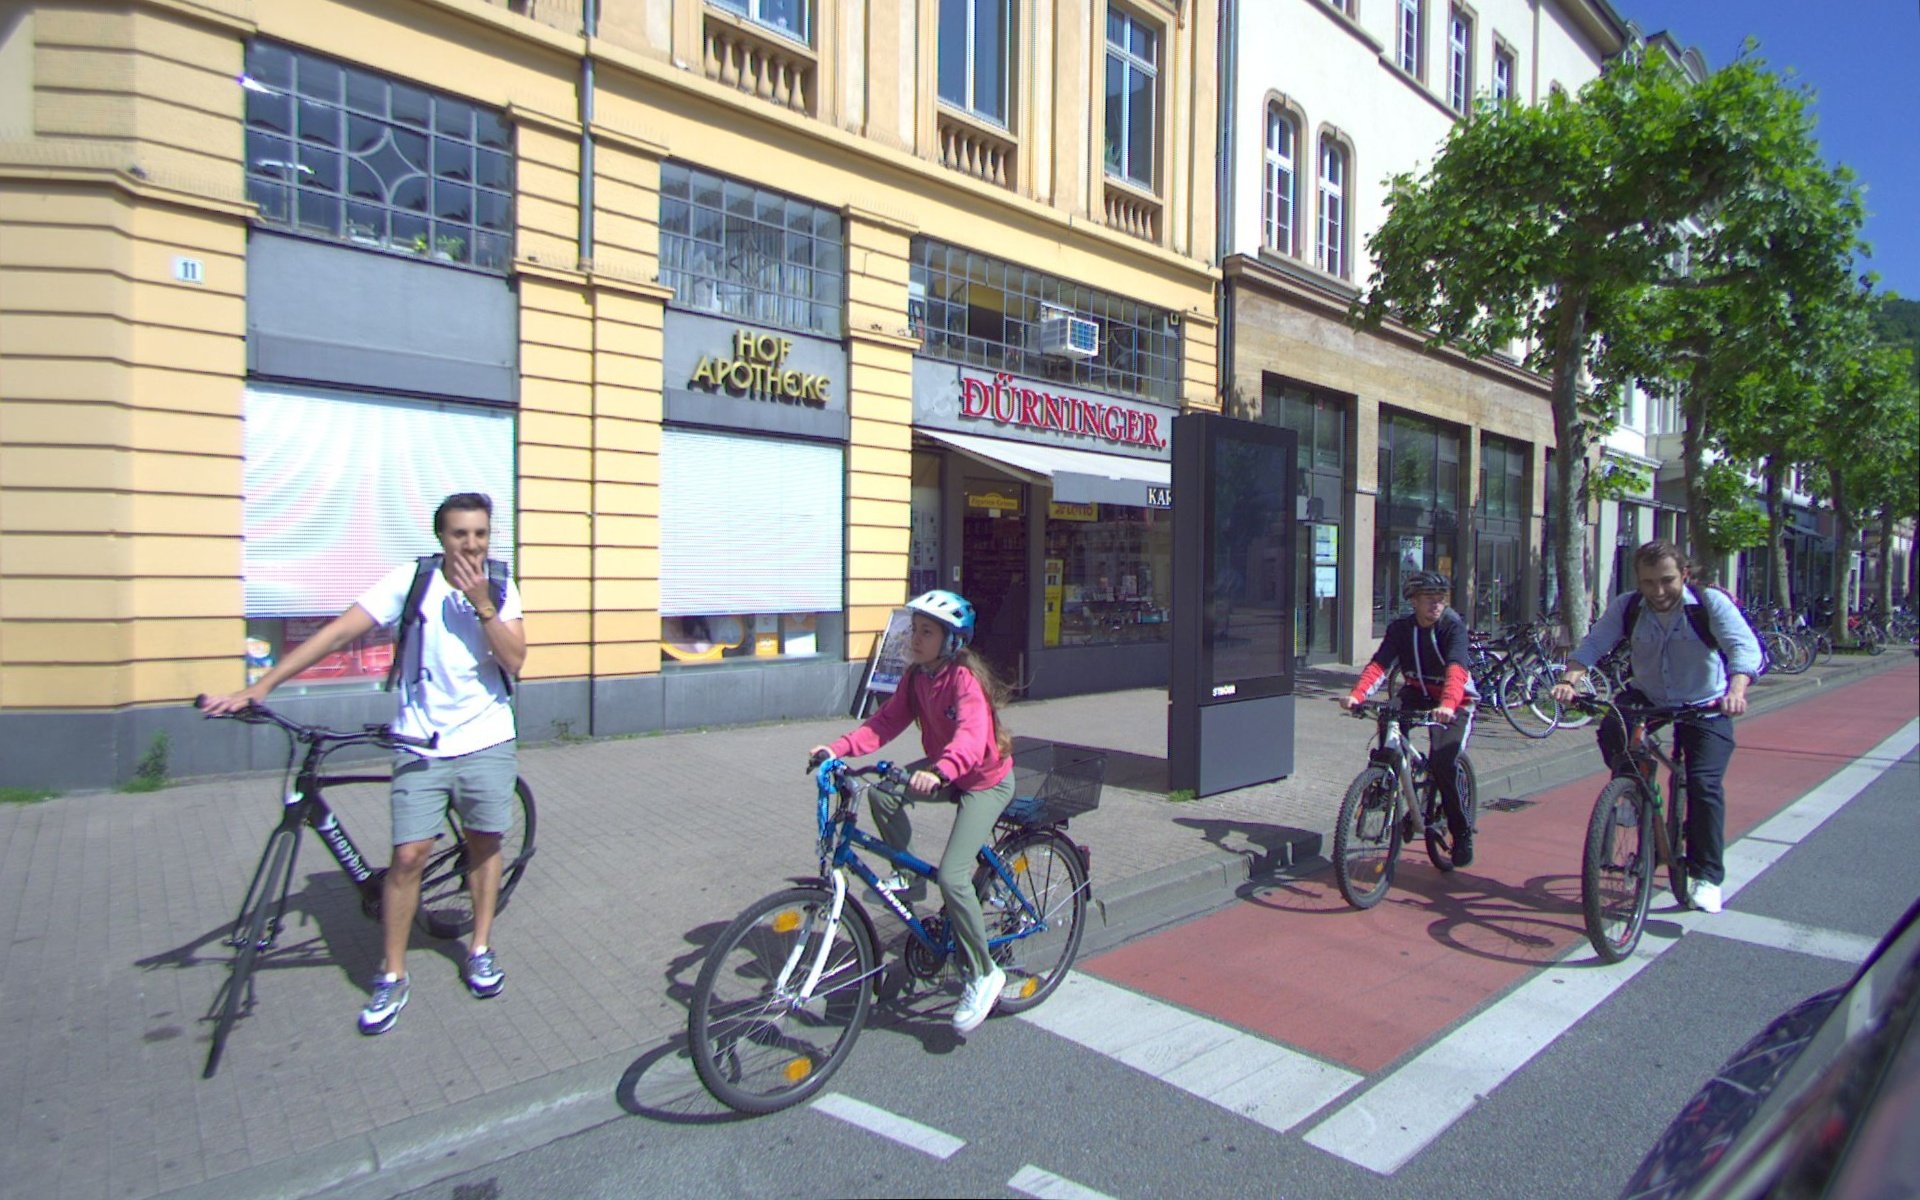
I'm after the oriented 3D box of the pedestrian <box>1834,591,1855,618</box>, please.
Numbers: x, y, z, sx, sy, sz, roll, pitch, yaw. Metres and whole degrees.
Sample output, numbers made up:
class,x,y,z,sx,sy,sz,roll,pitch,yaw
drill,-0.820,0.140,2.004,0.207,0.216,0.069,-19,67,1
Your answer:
class,x,y,z,sx,sy,sz,roll,pitch,yaw
pedestrian,42.149,0.221,48.229,0.523,1.268,0.682,1,2,-43

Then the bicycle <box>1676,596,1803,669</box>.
class,x,y,z,sx,sy,sz,roll,pitch,yaw
bicycle,13.925,0.552,18.117,0.469,1.232,1.733,0,1,-38

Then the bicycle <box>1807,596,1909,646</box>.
class,x,y,z,sx,sy,sz,roll,pitch,yaw
bicycle,22.762,0.513,25.685,0.657,1.201,1.845,0,0,-35

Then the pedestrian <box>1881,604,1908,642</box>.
class,x,y,z,sx,sy,sz,roll,pitch,yaw
pedestrian,31.425,0.761,34.025,0.587,1.248,0.640,-1,1,-43

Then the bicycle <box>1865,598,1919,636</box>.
class,x,y,z,sx,sy,sz,roll,pitch,yaw
bicycle,28.623,0.509,30.564,0.487,1.141,1.848,0,0,-29

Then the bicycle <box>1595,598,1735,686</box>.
class,x,y,z,sx,sy,sz,roll,pitch,yaw
bicycle,10.440,0.585,15.039,0.465,1.216,1.653,0,1,-38

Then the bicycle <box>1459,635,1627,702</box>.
class,x,y,z,sx,sy,sz,roll,pitch,yaw
bicycle,7.459,0.857,13.032,1.833,0.724,0.652,1,1,29

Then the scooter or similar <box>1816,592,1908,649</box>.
class,x,y,z,sx,sy,sz,roll,pitch,yaw
scooter or similar,21.368,0.470,24.004,0.656,1.290,1.481,0,0,-29

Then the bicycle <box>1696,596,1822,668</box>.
class,x,y,z,sx,sy,sz,roll,pitch,yaw
bicycle,14.407,0.547,18.293,0.469,1.232,1.733,0,1,-38

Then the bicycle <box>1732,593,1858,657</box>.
class,x,y,z,sx,sy,sz,roll,pitch,yaw
bicycle,17.441,0.495,21.177,0.723,1.264,1.936,0,1,-38

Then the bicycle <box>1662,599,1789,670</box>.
class,x,y,z,sx,sy,sz,roll,pitch,yaw
bicycle,13.495,0.583,17.887,0.469,1.176,1.733,0,1,-38

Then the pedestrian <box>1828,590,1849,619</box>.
class,x,y,z,sx,sy,sz,roll,pitch,yaw
pedestrian,41.274,0.209,47.527,0.523,1.349,0.682,0,0,-43

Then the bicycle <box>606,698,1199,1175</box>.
class,x,y,z,sx,sy,sz,roll,pitch,yaw
bicycle,-0.056,0.907,3.369,2.052,0.937,0.601,-1,2,-42

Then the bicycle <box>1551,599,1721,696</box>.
class,x,y,z,sx,sy,sz,roll,pitch,yaw
bicycle,9.214,0.605,13.865,0.597,1.216,1.848,0,1,-38

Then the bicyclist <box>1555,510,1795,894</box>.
class,x,y,z,sx,sy,sz,roll,pitch,yaw
bicyclist,3.150,0.395,4.449,0.945,1.464,0.699,2,-2,-44

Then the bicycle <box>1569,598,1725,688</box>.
class,x,y,z,sx,sy,sz,roll,pitch,yaw
bicycle,10.053,0.587,14.870,0.465,1.216,1.848,0,1,-38

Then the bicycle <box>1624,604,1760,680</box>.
class,x,y,z,sx,sy,sz,roll,pitch,yaw
bicycle,11.560,0.629,16.031,0.596,1.108,1.653,0,1,-38

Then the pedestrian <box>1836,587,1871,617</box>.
class,x,y,z,sx,sy,sz,roll,pitch,yaw
pedestrian,44.749,0.087,50.693,0.823,1.502,1.253,-1,1,-43

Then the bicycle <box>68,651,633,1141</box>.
class,x,y,z,sx,sy,sz,roll,pitch,yaw
bicycle,-1.948,0.823,3.599,0.593,1.095,1.832,3,3,14

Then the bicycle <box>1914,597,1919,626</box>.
class,x,y,z,sx,sy,sz,roll,pitch,yaw
bicycle,38.531,0.448,39.459,1.836,1.141,0.623,-2,-1,39

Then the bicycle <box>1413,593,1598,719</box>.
class,x,y,z,sx,sy,sz,roll,pitch,yaw
bicycle,6.216,0.597,11.606,1.811,1.325,0.682,1,1,30

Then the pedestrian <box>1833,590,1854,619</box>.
class,x,y,z,sx,sy,sz,roll,pitch,yaw
pedestrian,41.766,0.199,47.853,0.523,1.355,0.682,0,1,-43

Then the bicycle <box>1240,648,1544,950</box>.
class,x,y,z,sx,sy,sz,roll,pitch,yaw
bicycle,2.278,0.872,5.171,2.047,1.141,0.699,-1,0,-45

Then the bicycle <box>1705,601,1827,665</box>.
class,x,y,z,sx,sy,sz,roll,pitch,yaw
bicycle,15.150,0.603,19.067,0.469,1.123,1.733,0,1,-38

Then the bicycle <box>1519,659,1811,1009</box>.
class,x,y,z,sx,sy,sz,roll,pitch,yaw
bicycle,3.198,0.868,4.495,2.047,1.141,0.699,2,-2,-45

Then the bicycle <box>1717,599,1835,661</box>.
class,x,y,z,sx,sy,sz,roll,pitch,yaw
bicycle,15.772,0.551,19.599,0.395,1.123,1.733,0,1,-38

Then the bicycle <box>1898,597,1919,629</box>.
class,x,y,z,sx,sy,sz,roll,pitch,yaw
bicycle,35.220,0.477,36.596,1.838,1.141,0.490,-1,-2,42

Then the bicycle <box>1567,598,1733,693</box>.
class,x,y,z,sx,sy,sz,roll,pitch,yaw
bicycle,9.611,0.595,14.165,0.535,1.216,1.848,0,1,-38

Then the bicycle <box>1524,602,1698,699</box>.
class,x,y,z,sx,sy,sz,roll,pitch,yaw
bicycle,8.672,0.632,13.547,0.647,1.178,1.848,0,1,-38

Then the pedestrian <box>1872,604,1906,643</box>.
class,x,y,z,sx,sy,sz,roll,pitch,yaw
pedestrian,30.918,0.768,33.669,0.566,1.258,0.788,-1,1,-43

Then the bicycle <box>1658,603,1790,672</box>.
class,x,y,z,sx,sy,sz,roll,pitch,yaw
bicycle,13.172,0.619,17.492,0.596,1.108,1.733,0,1,-38

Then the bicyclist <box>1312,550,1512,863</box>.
class,x,y,z,sx,sy,sz,roll,pitch,yaw
bicyclist,2.345,0.494,5.246,0.777,1.459,0.699,0,0,-44

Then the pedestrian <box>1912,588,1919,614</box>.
class,x,y,z,sx,sy,sz,roll,pitch,yaw
pedestrian,62.115,0.086,65.114,0.892,1.630,0.970,1,4,21

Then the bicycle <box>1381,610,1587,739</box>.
class,x,y,z,sx,sy,sz,roll,pitch,yaw
bicycle,5.337,0.713,10.394,0.553,1.136,1.784,0,2,-43

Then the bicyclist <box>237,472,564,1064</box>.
class,x,y,z,sx,sy,sz,roll,pitch,yaw
bicyclist,-1.938,0.499,3.593,0.567,1.819,0.853,3,2,14

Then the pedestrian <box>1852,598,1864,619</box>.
class,x,y,z,sx,sy,sz,roll,pitch,yaw
pedestrian,42.347,0.394,47.708,0.429,0.980,0.342,0,0,-39

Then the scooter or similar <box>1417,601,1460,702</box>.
class,x,y,z,sx,sy,sz,roll,pitch,yaw
scooter or similar,6.043,0.615,12.762,0.418,1.193,1.220,0,1,28

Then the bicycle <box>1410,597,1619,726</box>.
class,x,y,z,sx,sy,sz,roll,pitch,yaw
bicycle,5.973,0.614,10.982,1.923,1.273,0.698,1,1,31

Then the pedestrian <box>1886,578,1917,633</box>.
class,x,y,z,sx,sy,sz,roll,pitch,yaw
pedestrian,29.887,0.181,32.112,0.829,1.711,0.639,1,-2,-43

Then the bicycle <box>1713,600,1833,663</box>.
class,x,y,z,sx,sy,sz,roll,pitch,yaw
bicycle,15.482,0.584,19.312,0.395,1.123,1.733,0,1,-38

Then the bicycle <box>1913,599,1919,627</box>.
class,x,y,z,sx,sy,sz,roll,pitch,yaw
bicycle,38.834,0.505,39.859,1.837,1.107,0.556,0,0,39

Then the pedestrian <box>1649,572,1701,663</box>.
class,x,y,z,sx,sy,sz,roll,pitch,yaw
pedestrian,13.264,0.310,18.765,0.731,1.632,0.616,0,0,-40

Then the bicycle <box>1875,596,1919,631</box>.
class,x,y,z,sx,sy,sz,roll,pitch,yaw
bicycle,33.683,0.464,35.883,1.760,1.212,0.573,0,0,23

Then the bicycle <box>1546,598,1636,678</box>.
class,x,y,z,sx,sy,sz,roll,pitch,yaw
bicycle,9.939,0.574,15.936,1.621,1.203,0.475,0,0,-29

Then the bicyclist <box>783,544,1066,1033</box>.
class,x,y,z,sx,sy,sz,roll,pitch,yaw
bicyclist,-0.113,0.519,3.304,0.708,1.374,0.601,-1,1,-42

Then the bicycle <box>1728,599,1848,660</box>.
class,x,y,z,sx,sy,sz,roll,pitch,yaw
bicycle,16.434,0.555,20.113,0.723,1.123,1.733,0,1,-38

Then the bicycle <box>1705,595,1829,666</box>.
class,x,y,z,sx,sy,sz,roll,pitch,yaw
bicycle,14.937,0.531,18.769,0.469,1.232,1.733,0,1,-38

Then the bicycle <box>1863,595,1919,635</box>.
class,x,y,z,sx,sy,sz,roll,pitch,yaw
bicycle,29.303,0.456,31.383,0.661,1.212,1.847,0,1,-33

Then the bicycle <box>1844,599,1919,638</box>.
class,x,y,z,sx,sy,sz,roll,pitch,yaw
bicycle,27.237,0.528,29.686,0.779,1.111,1.846,0,1,-35
